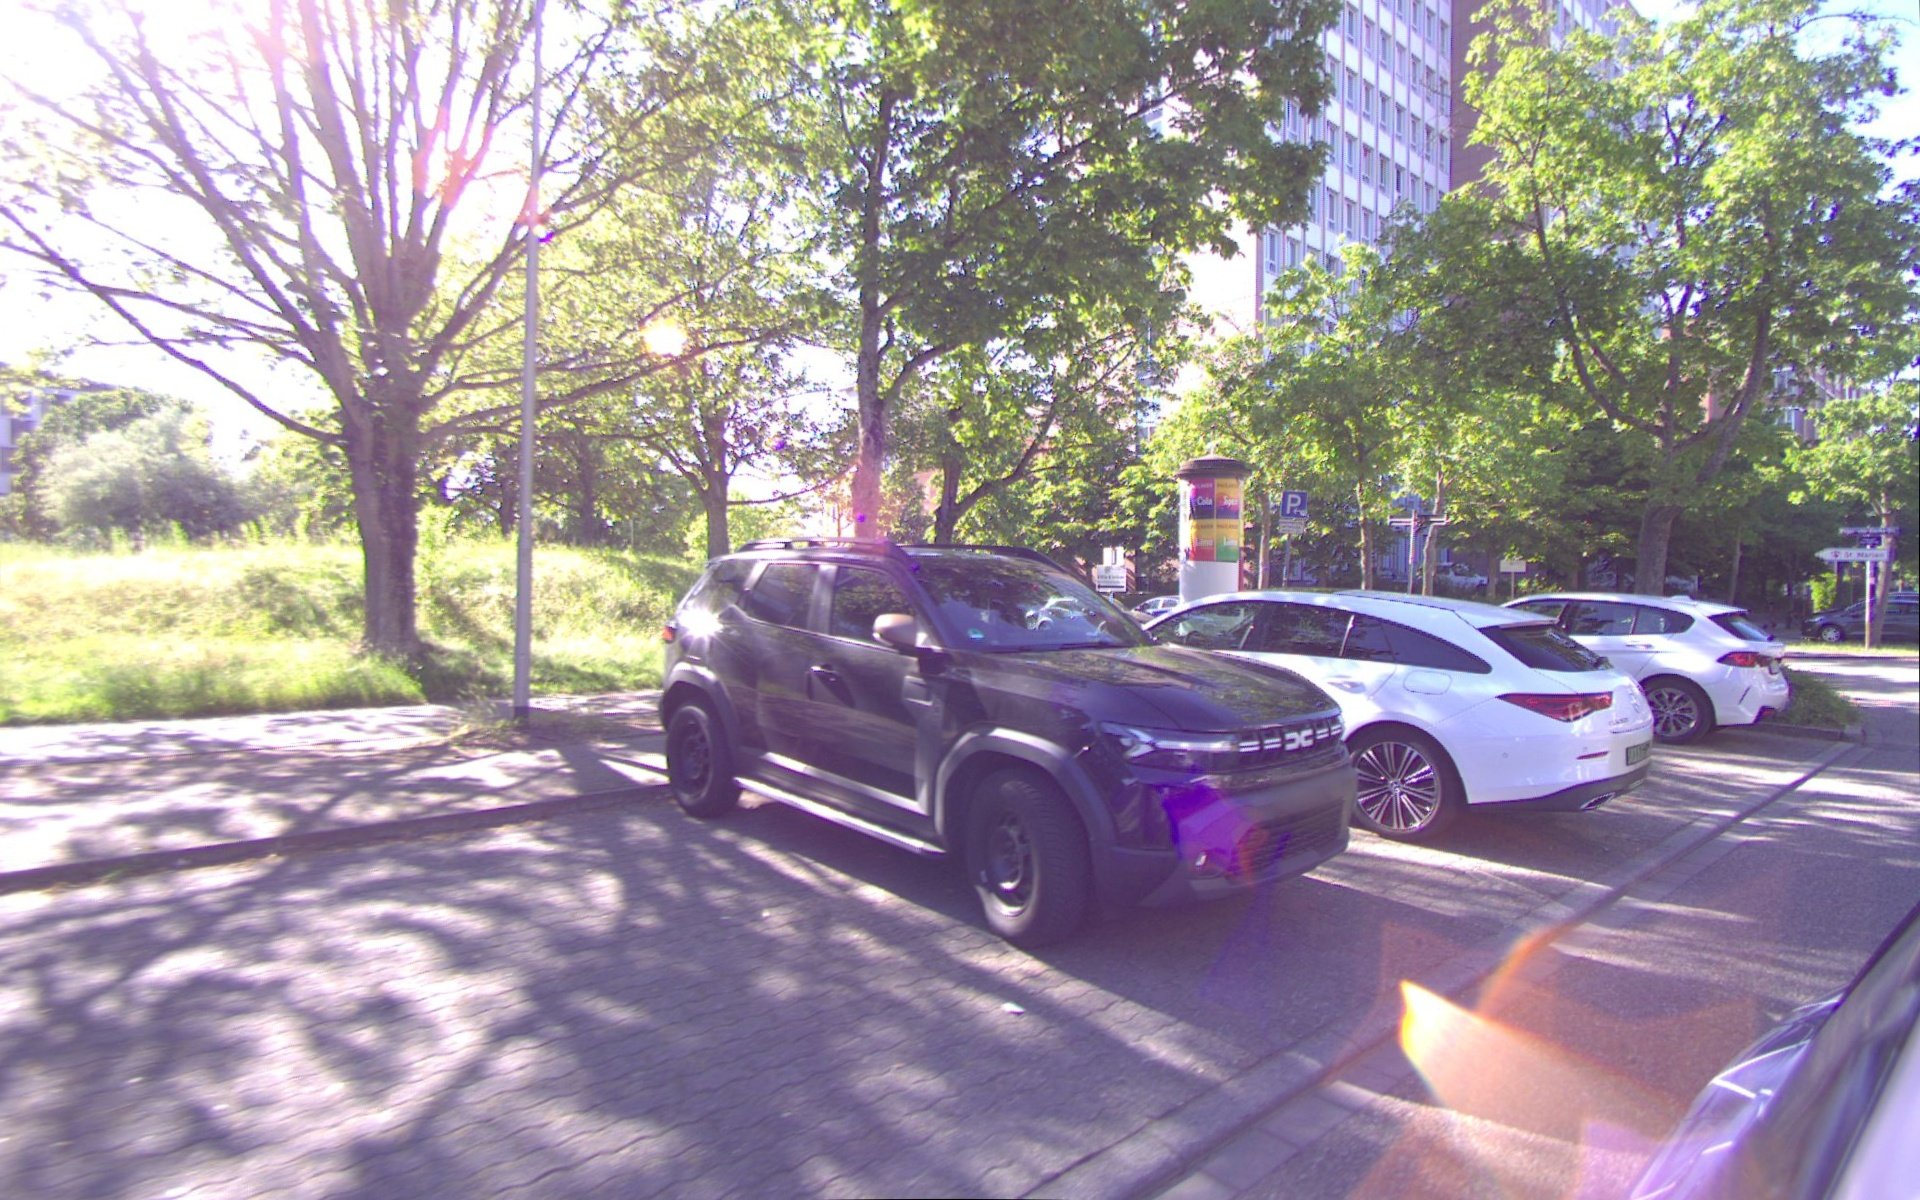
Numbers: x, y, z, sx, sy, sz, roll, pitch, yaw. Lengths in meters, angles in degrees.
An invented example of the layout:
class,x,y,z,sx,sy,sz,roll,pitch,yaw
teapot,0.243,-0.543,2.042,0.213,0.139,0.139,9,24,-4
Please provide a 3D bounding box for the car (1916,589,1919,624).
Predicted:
class,x,y,z,sx,sy,sz,roll,pitch,yaw
car,43.863,0.328,43.736,1.695,1.525,3.578,0,2,-42

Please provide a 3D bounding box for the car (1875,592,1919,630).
class,x,y,z,sx,sy,sz,roll,pitch,yaw
car,40.681,0.469,41.605,1.828,1.573,4.426,0,1,-42

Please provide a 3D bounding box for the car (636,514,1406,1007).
class,x,y,z,sx,sy,sz,roll,pitch,yaw
car,-0.040,0.426,5.450,1.705,1.637,4.124,-2,4,-42

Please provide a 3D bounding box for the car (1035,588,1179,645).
class,x,y,z,sx,sy,sz,roll,pitch,yaw
car,4.268,0.446,29.885,1.803,1.550,3.992,0,1,-42

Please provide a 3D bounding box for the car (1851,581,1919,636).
class,x,y,z,sx,sy,sz,roll,pitch,yaw
car,32.153,0.296,33.517,1.693,1.772,3.682,0,2,-38

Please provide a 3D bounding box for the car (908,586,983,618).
class,x,y,z,sx,sy,sz,roll,pitch,yaw
car,-0.737,0.067,49.484,1.681,1.512,3.766,0,0,-40

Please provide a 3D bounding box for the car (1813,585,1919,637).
class,x,y,z,sx,sy,sz,roll,pitch,yaw
car,29.835,0.393,32.251,1.565,1.464,3.840,2,2,-43

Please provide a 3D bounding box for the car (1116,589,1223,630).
class,x,y,z,sx,sy,sz,roll,pitch,yaw
car,8.043,0.338,39.014,1.622,1.488,3.850,0,0,-41

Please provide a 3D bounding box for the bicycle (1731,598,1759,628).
class,x,y,z,sx,sy,sz,roll,pitch,yaw
bicycle,27.695,0.441,35.696,1.921,1.006,0.303,-1,0,-37

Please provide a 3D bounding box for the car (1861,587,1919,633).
class,x,y,z,sx,sy,sz,roll,pitch,yaw
car,35.196,0.377,36.561,3.872,1.584,1.780,3,2,45

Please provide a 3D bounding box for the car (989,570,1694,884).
class,x,y,z,sx,sy,sz,roll,pitch,yaw
car,2.390,0.623,7.304,1.786,1.564,4.447,0,0,-42

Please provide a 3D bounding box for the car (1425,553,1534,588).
class,x,y,z,sx,sy,sz,roll,pitch,yaw
car,26.958,-1.500,52.613,1.845,1.707,4.719,0,1,-45

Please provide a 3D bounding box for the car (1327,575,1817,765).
class,x,y,z,sx,sy,sz,roll,pitch,yaw
car,6.735,0.596,11.557,1.805,1.612,4.434,0,3,-42

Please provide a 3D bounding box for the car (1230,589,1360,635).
class,x,y,z,sx,sy,sz,roll,pitch,yaw
car,11.677,0.382,35.452,1.739,1.466,3.994,-2,1,-40

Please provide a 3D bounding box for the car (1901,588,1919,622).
class,x,y,z,sx,sy,sz,roll,pitch,yaw
car,45.599,0.257,46.067,1.656,1.569,3.974,0,1,-44

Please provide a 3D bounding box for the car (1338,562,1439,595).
class,x,y,z,sx,sy,sz,roll,pitch,yaw
car,20.730,-1.020,49.065,4.224,1.525,1.697,1,1,44
